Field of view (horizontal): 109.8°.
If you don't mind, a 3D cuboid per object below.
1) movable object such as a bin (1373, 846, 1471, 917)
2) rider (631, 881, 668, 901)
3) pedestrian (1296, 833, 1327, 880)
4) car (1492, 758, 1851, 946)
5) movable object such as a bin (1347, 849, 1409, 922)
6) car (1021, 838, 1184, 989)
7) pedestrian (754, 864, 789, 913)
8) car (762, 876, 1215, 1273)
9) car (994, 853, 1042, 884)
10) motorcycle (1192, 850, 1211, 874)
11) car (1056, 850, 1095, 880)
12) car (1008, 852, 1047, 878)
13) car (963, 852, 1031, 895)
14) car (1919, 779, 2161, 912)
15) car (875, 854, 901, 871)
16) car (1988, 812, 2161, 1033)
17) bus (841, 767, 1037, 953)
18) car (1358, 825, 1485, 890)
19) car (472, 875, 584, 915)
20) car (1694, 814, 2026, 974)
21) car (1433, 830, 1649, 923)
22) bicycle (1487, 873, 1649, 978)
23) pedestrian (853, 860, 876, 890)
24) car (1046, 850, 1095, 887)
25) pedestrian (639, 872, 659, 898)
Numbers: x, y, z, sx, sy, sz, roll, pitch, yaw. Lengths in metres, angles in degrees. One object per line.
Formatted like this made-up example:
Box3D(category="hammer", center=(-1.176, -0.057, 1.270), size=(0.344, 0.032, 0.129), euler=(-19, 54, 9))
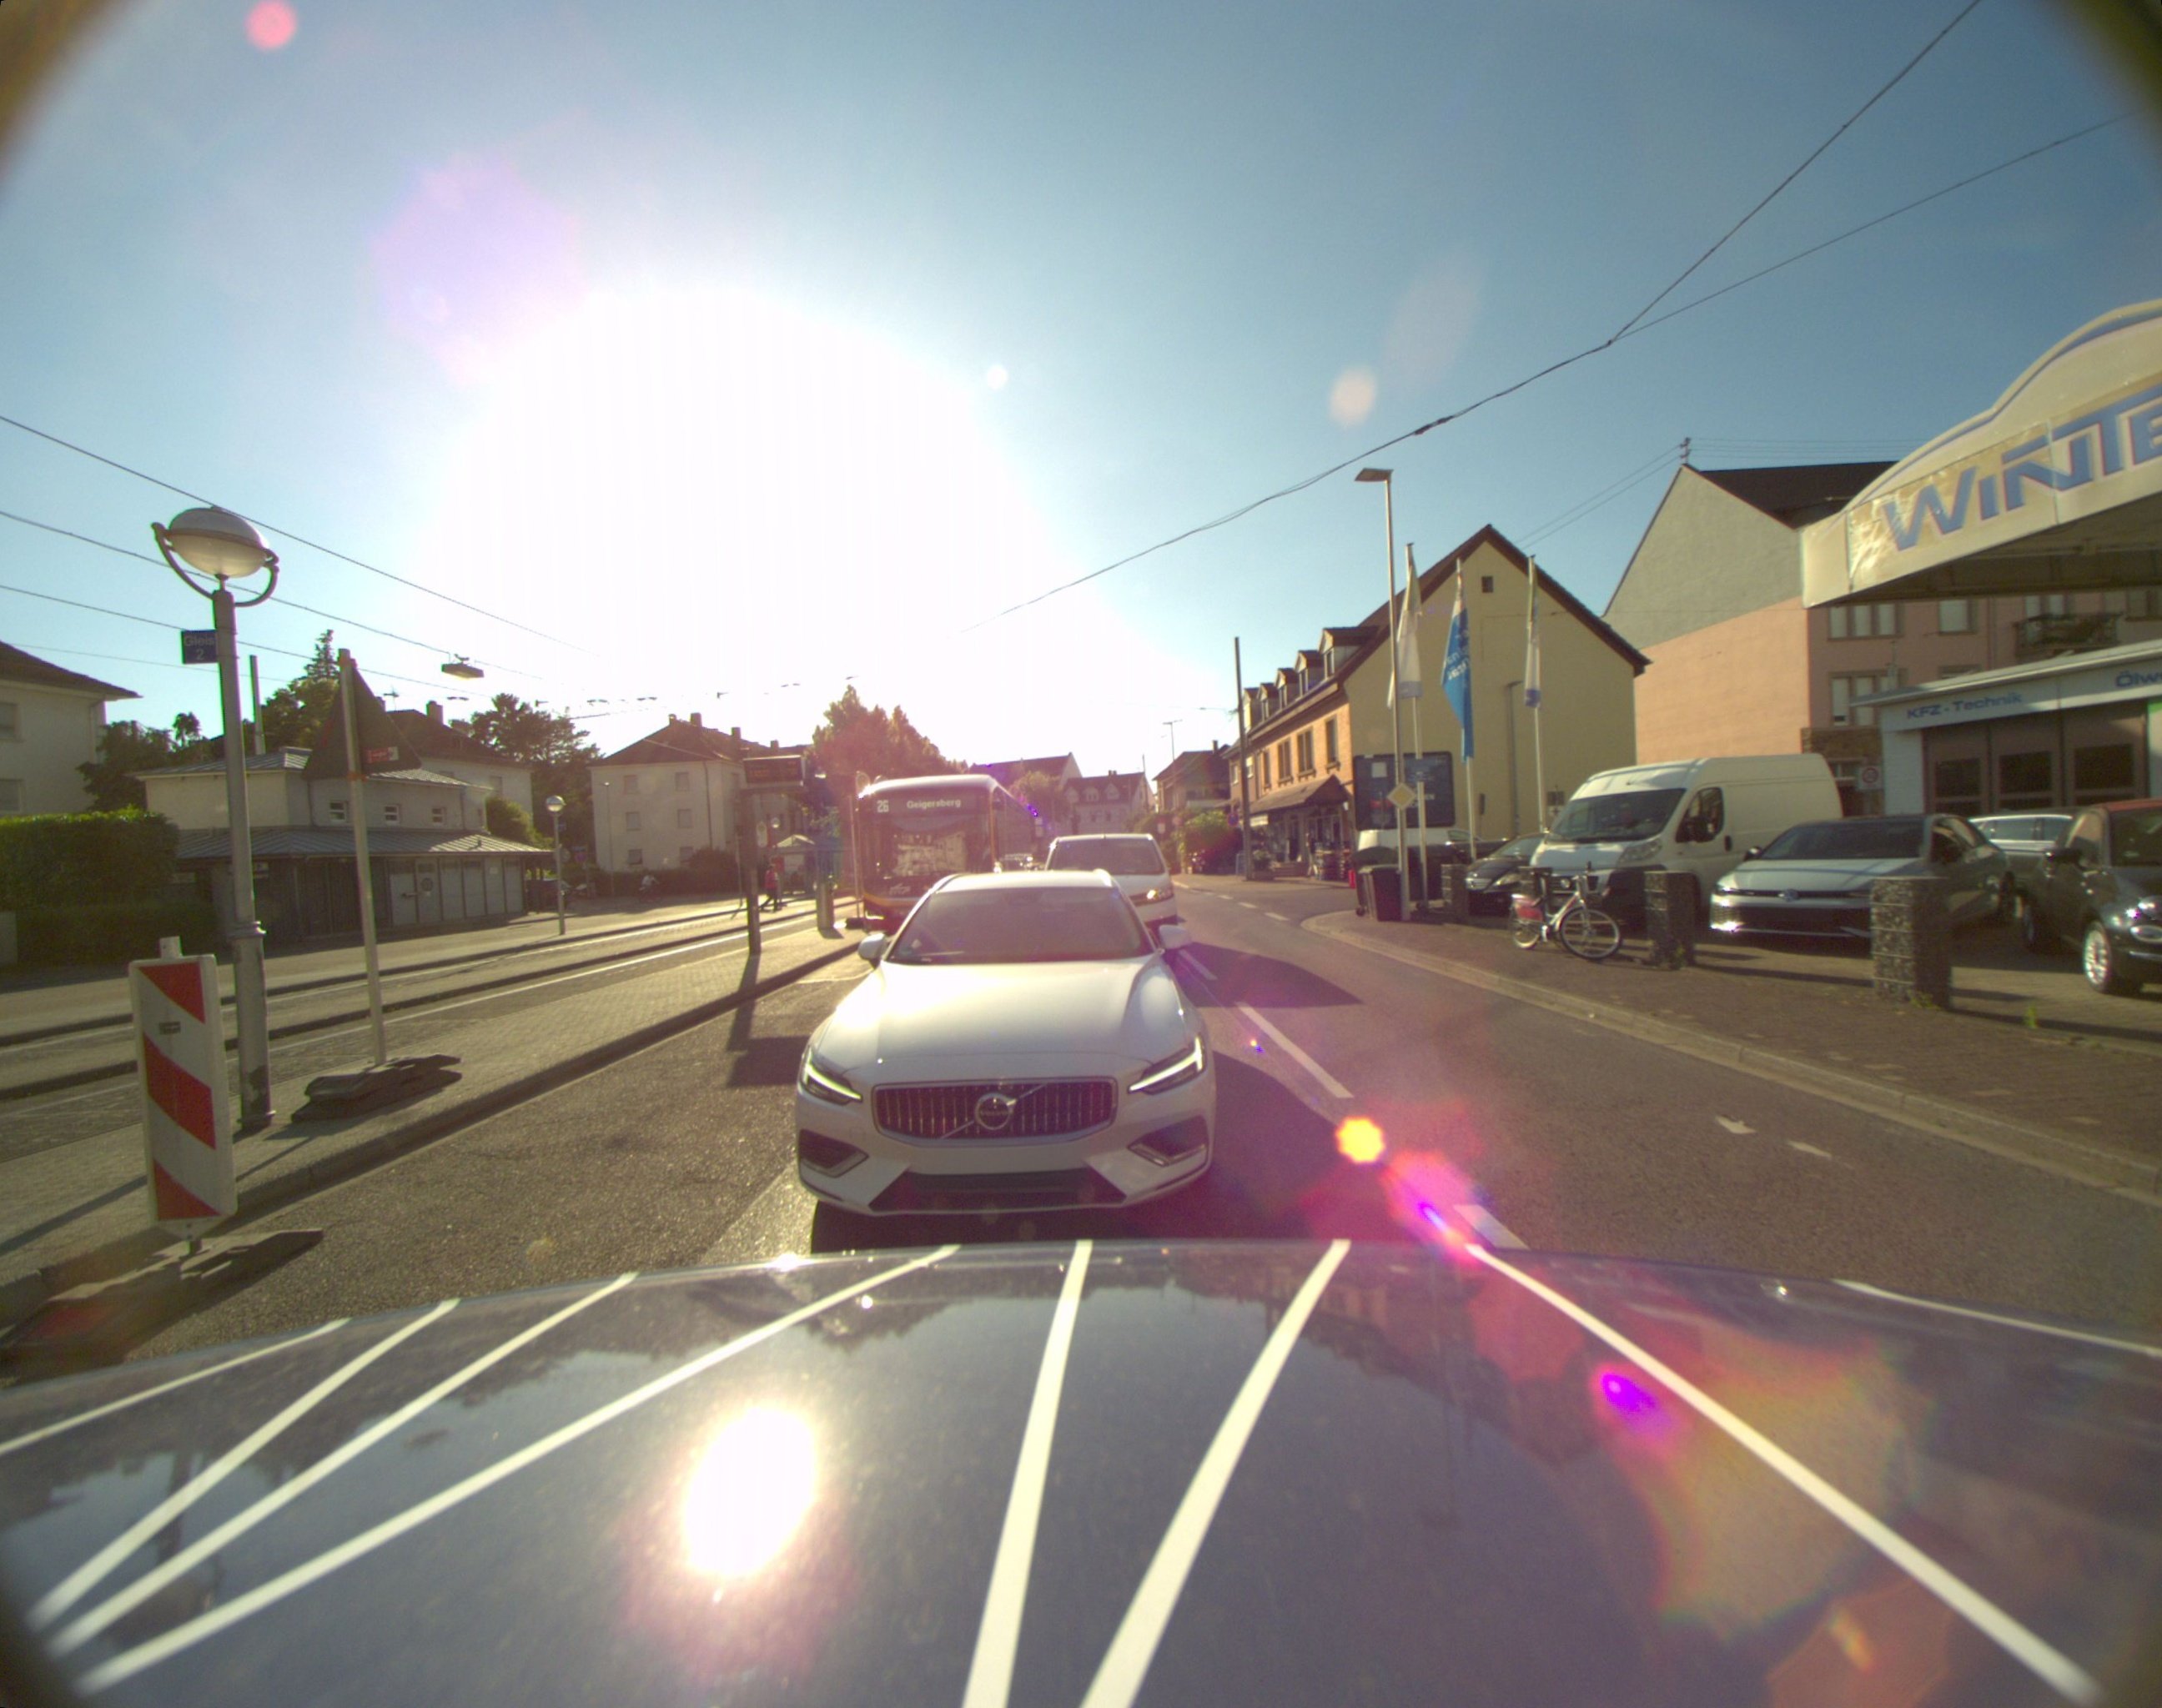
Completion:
Box3D(category="movable object such as a bin", center=(7.591, 0.578, 16.916), size=(1.798, 1.456, 1.046), euler=(-3, 1, -25))
Box3D(category="rider", center=(-23.025, 1.995, 40.546), size=(1.854, 0.986, 0.581), euler=(-2, 1, 17))
Box3D(category="pedestrian", center=(9.153, 0.102, 30.171), size=(0.824, 1.842, 0.765), euler=(-3, 1, -30))
Box3D(category="car", center=(9.142, -0.135, 11.762), size=(4.997, 2.440, 2.111), euler=(-3, 1, -22))
Box3D(category="movable object such as a bin", center=(6.234, 0.641, 15.952), size=(1.045, 1.456, 0.797), euler=(-2, 1, 32))
Box3D(category="car", center=(0.301, 0.733, 12.011), size=(1.969, 1.816, 5.033), euler=(-2, 0, 1))
Box3D(category="pedestrian", center=(-11.298, 1.257, 27.746), size=(0.842, 1.708, 0.825), euler=(-2, 1, 0))
Box3D(category="car", center=(-0.354, 0.981, 5.258), size=(1.821, 1.446, 4.217), euler=(-2, 0, 1))
Box3D(category="car", center=(-3.231, 0.704, 39.891), size=(1.969, 1.450, 4.824), euler=(-2, 0, 1))
Box3D(category="motorcycle", center=(6.351, 0.416, 40.121), size=(0.708, 1.210, 2.186), euler=(-2, 1, 3))
Box3D(category="car", center=(-0.254, 0.565, 41.510), size=(1.969, 1.450, 4.824), euler=(-2, 0, 1))
Box3D(category="car", center=(-3.273, 0.630, 47.305), size=(1.969, 1.450, 4.824), euler=(-2, 0, 1))
Box3D(category="car", center=(-3.153, 0.704, 29.502), size=(1.969, 1.450, 4.824), euler=(-2, 0, 1))
Box3D(category="car", center=(16.479, -0.174, 11.990), size=(1.742, 1.933, 4.257), euler=(-3, 1, -1))
Box3D(category="car", center=(-23.264, 1.016, 91.773), size=(1.998, 1.853, 3.999), euler=(-2, 1, 1))
Box3D(category="car", center=(9.075, 0.411, 6.167), size=(1.590, 1.488, 3.442), euler=(-2, 1, 40))
Box3D(category="bus", center=(-2.921, 0.094, 19.835), size=(2.748, 3.284, 12.030), euler=(-2, 0, 0))
Box3D(category="car", center=(11.563, 0.096, 25.924), size=(3.672, 2.002, 1.451), euler=(-2, 1, -3))
Box3D(category="car", center=(-27.690, 2.047, 38.140), size=(4.052, 1.663, 2.000), euler=(-4, 1, 2))
Box3D(category="car", center=(9.488, 0.359, 9.213), size=(4.036, 1.488, 1.739), euler=(-3, 1, -28))
Box3D(category="car", center=(8.966, 0.373, 14.749), size=(4.036, 1.469, 1.739), euler=(-3, 1, -28))
Box3D(category="bicycle", center=(5.880, 0.814, 9.315), size=(0.725, 1.080, 1.791), euler=(-3, 1, -3))
Box3D(category="pedestrian", center=(-11.832, 1.164, 41.556), size=(0.840, 1.601, 0.827), euler=(-1, 1, 39))
Box3D(category="car", center=(-0.393, 0.582, 33.262), size=(1.969, 1.450, 4.824), euler=(-2, 0, 1))
Box3D(category="pedestrian", center=(-23.032, 1.651, 40.530), size=(0.657, 1.373, 0.581), euler=(-2, 1, 17))
